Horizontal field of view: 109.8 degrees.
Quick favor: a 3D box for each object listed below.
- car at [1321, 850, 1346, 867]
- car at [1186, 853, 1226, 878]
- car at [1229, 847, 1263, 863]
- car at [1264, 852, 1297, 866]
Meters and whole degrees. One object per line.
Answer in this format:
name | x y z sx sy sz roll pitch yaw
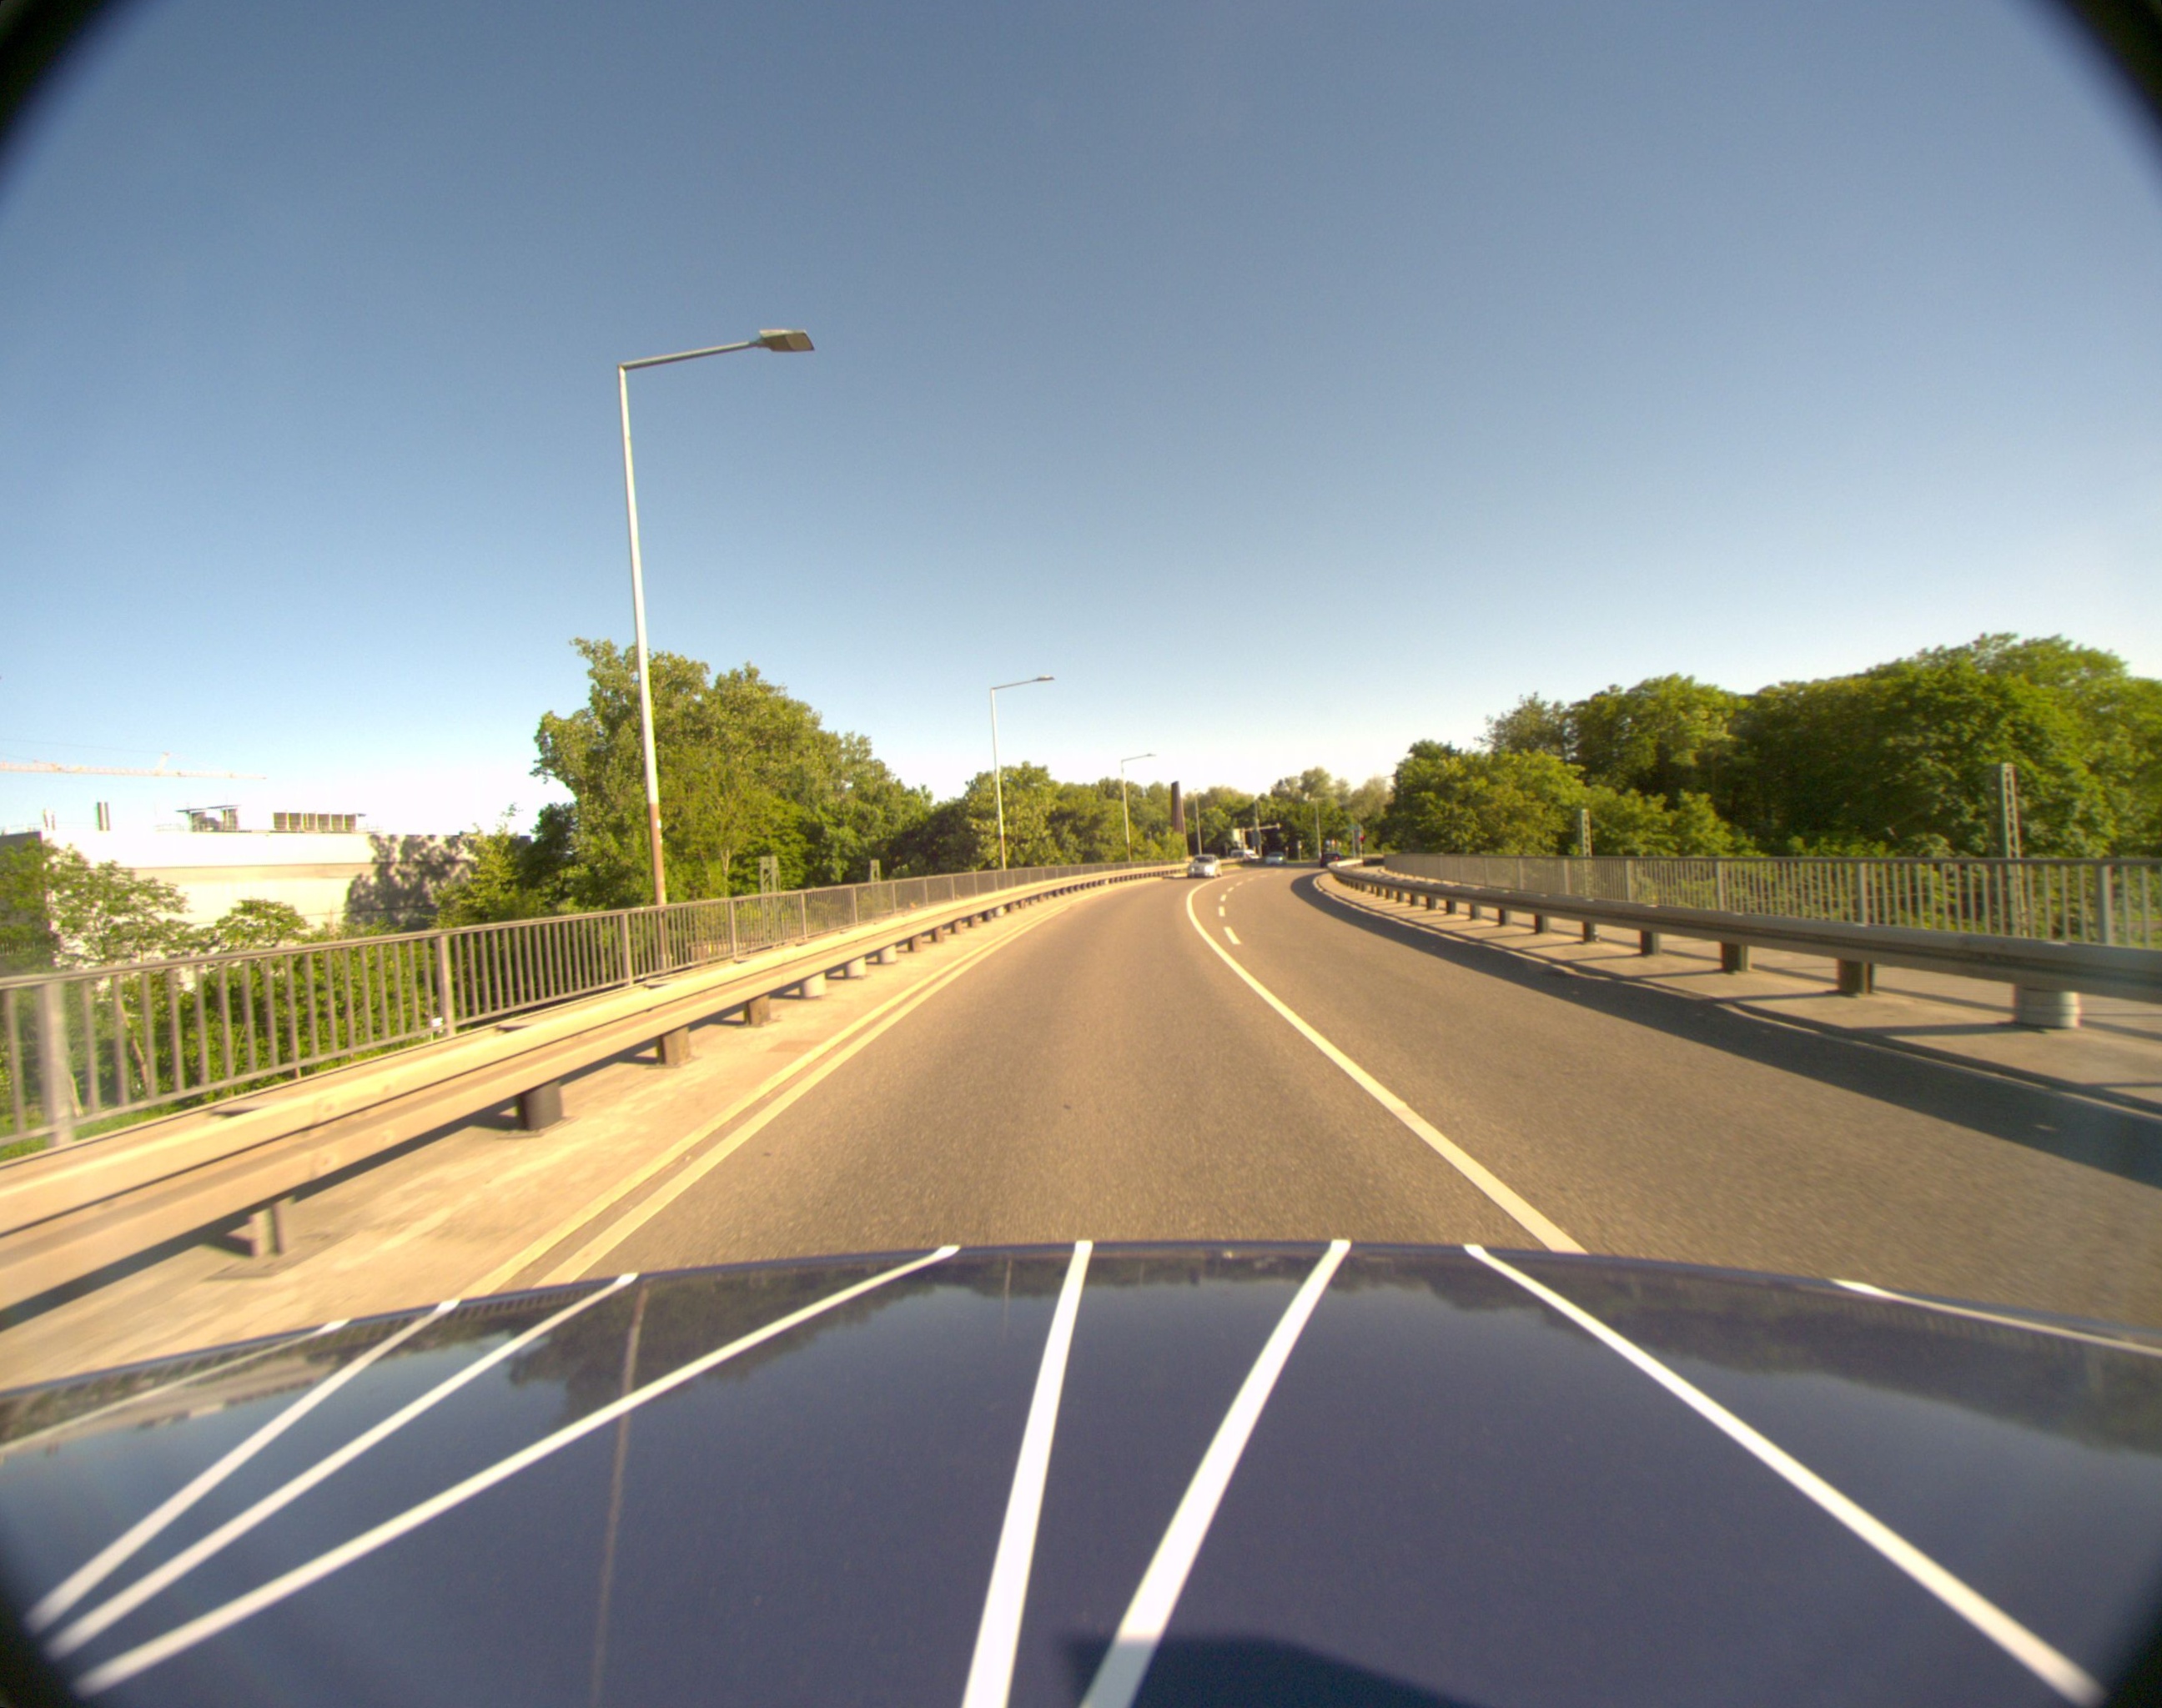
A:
car | 23.232 0.422 69.783 1.875 1.431 4.328 -1 0 23
car | 7.971 0.706 48.280 1.762 1.428 4.336 -1 0 19
car | 27.783 0.217 128.226 2.118 2.484 5.693 -2 -2 -35
car | 22.947 0.543 87.300 1.989 1.465 4.138 -1 0 43
